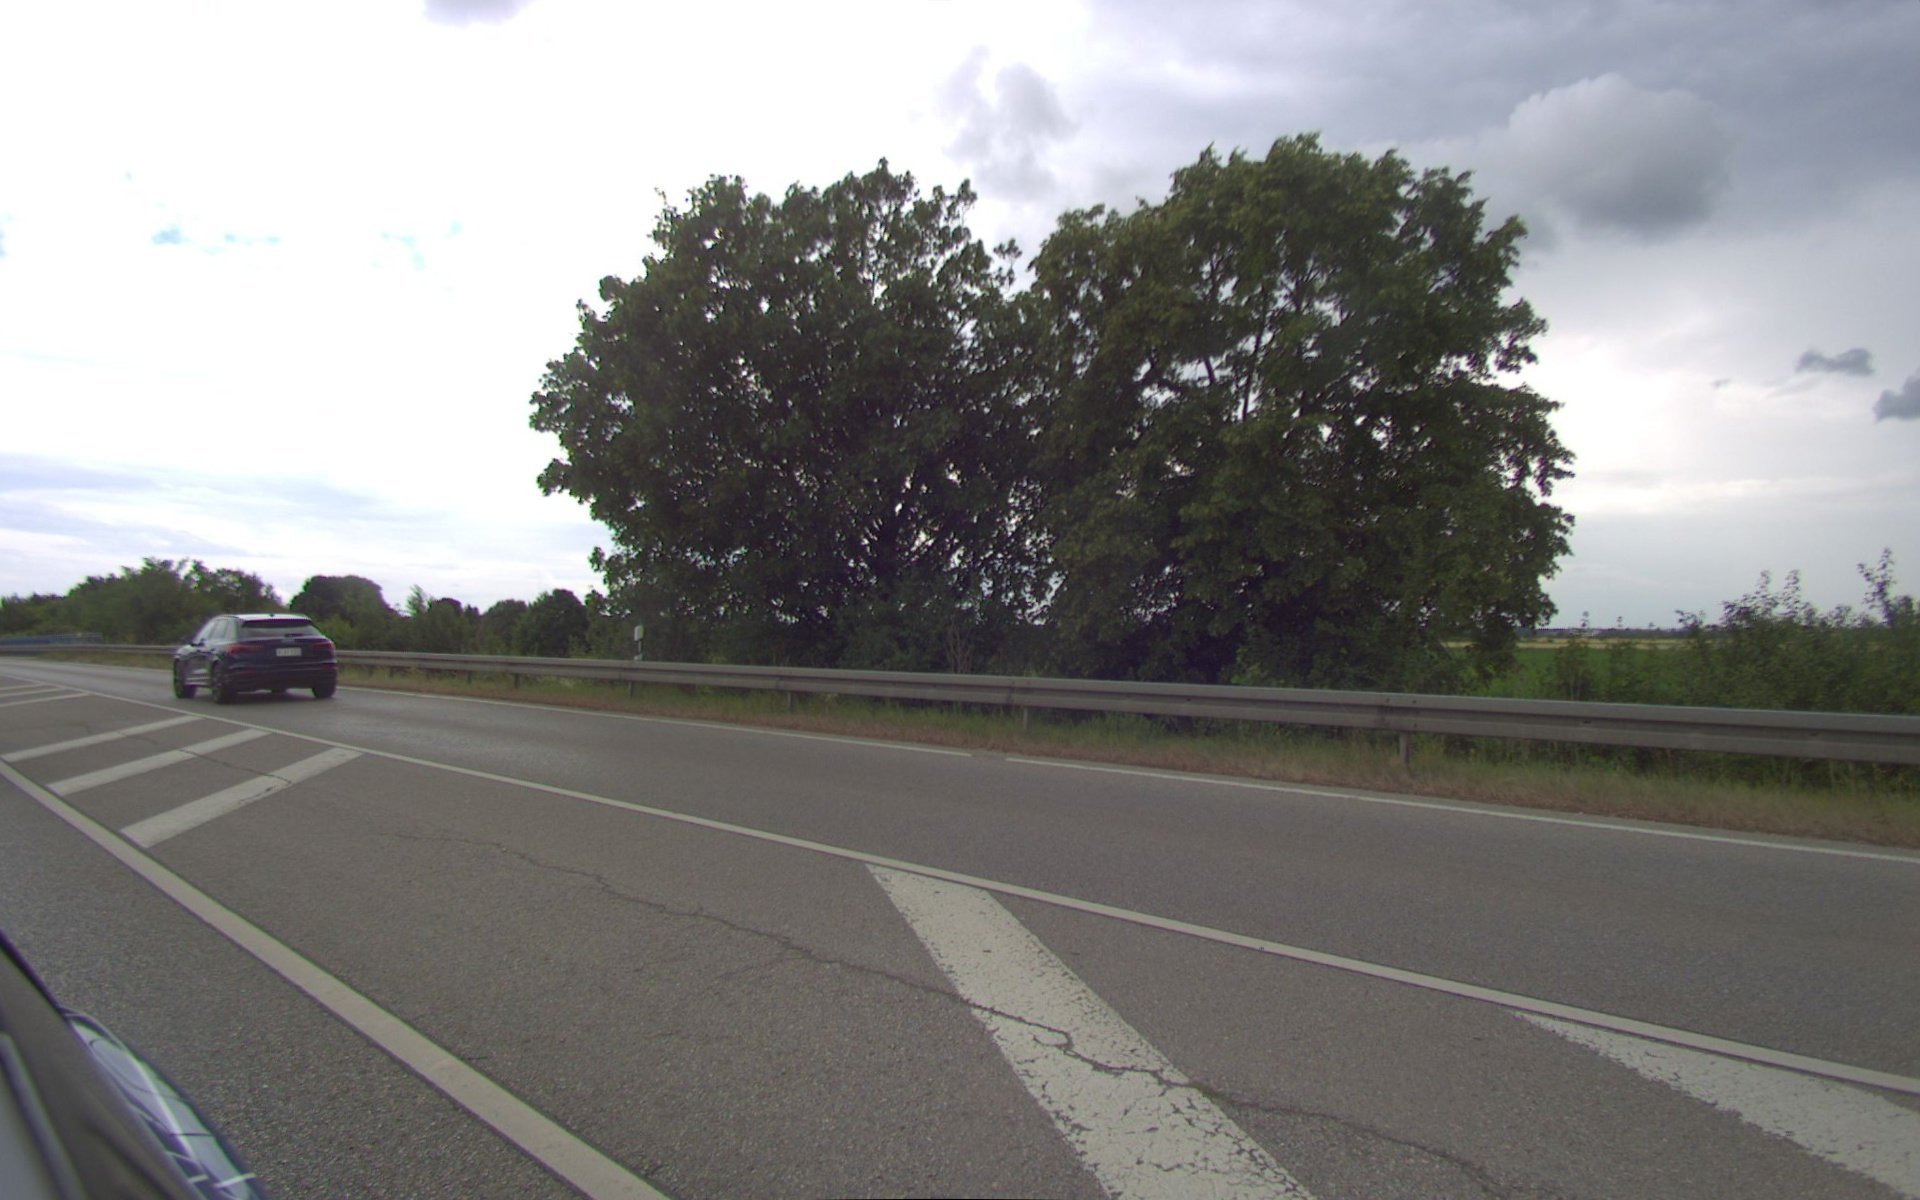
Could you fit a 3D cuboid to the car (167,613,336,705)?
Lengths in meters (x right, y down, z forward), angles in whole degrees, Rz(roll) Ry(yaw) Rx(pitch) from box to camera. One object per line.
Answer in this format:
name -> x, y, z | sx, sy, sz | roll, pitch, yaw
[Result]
car -> -13.472, 1.055, 19.142 | 4.207, 1.530, 1.692 | -2, -1, 42
